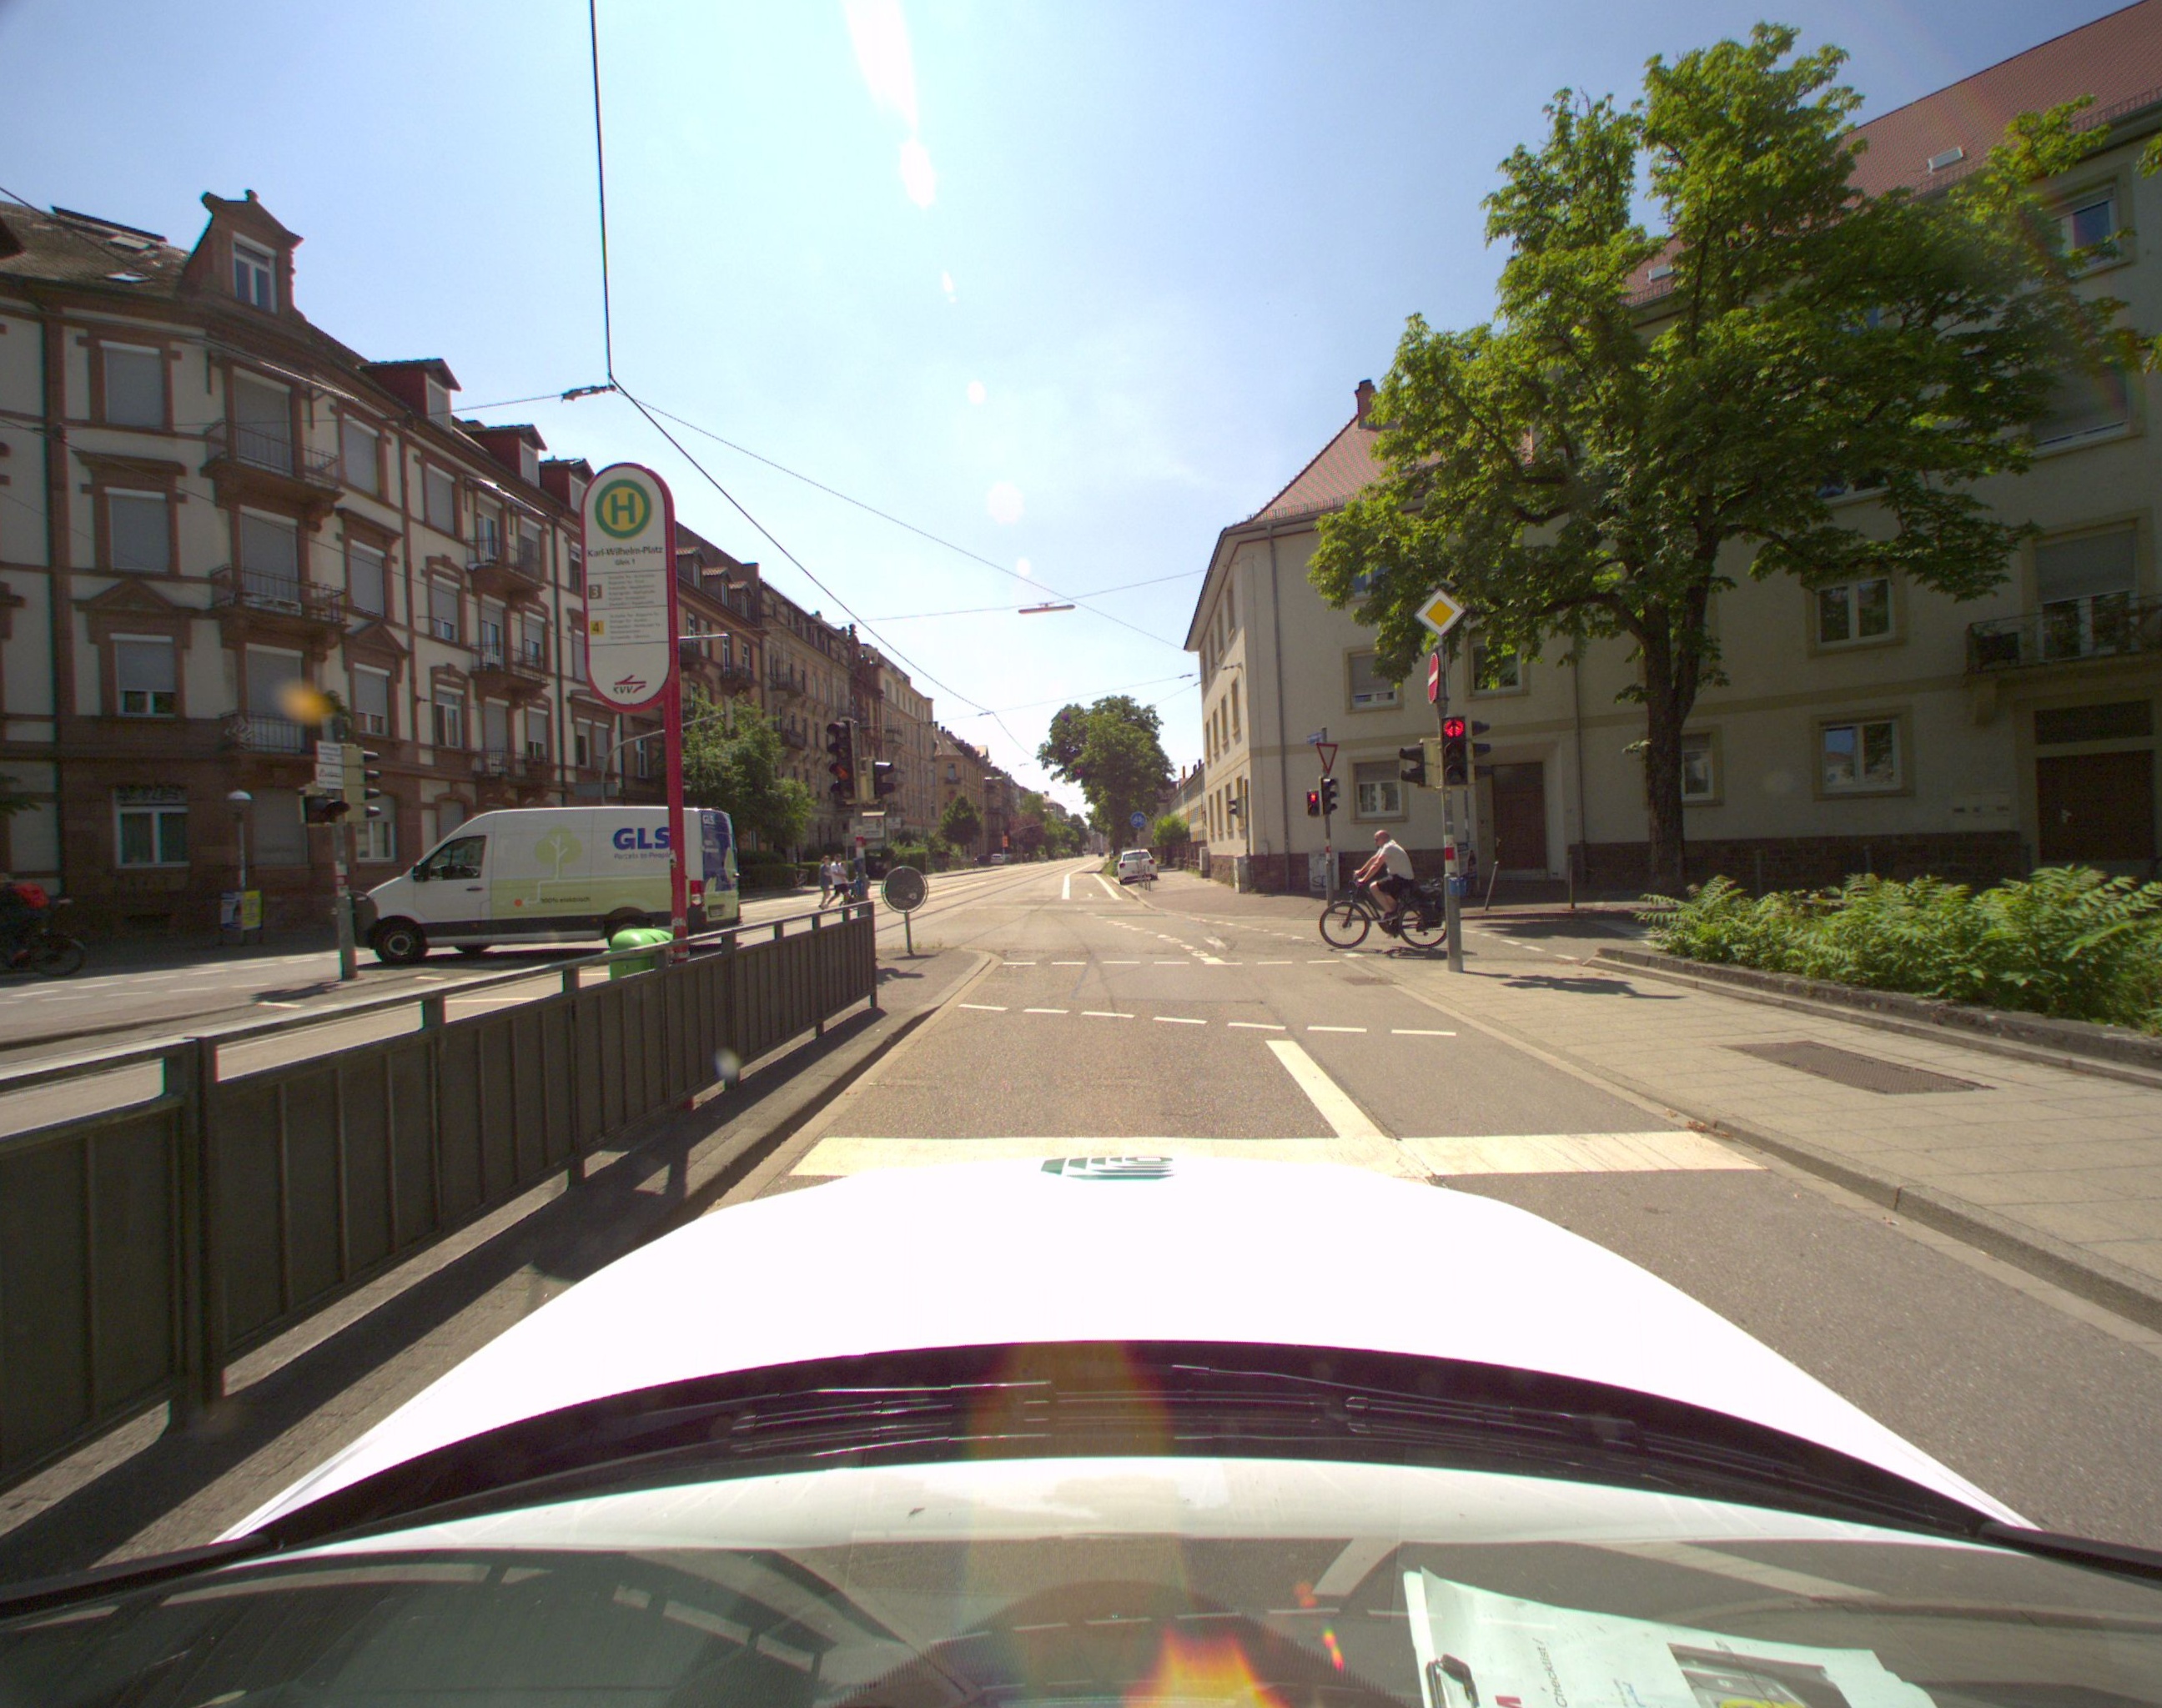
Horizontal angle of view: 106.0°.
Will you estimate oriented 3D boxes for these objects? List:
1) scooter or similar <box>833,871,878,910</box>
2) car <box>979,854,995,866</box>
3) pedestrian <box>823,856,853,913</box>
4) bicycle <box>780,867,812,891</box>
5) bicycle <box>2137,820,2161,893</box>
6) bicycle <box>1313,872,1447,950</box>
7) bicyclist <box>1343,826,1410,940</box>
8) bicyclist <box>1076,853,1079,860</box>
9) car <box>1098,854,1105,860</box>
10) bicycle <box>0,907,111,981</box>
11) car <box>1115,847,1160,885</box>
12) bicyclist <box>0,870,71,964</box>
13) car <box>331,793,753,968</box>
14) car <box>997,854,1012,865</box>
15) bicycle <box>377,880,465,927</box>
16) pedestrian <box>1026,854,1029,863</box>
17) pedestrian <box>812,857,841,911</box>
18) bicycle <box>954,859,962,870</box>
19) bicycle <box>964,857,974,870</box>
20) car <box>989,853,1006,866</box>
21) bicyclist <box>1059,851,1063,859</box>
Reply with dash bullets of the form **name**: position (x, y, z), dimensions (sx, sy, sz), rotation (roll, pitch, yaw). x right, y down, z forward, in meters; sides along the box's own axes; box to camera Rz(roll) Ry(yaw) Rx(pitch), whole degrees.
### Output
- **scooter or similar**: position (-6.819, 1.091, 24.647), dimensions (1.195, 1.155, 0.559), rotation (0, -1, 7)
- **car**: position (-14.328, 0.883, 124.466), dimensions (1.912, 1.715, 4.001), rotation (0, -1, 2)
- **pedestrian**: position (-7.086, 0.885, 23.759), dimensions (0.671, 1.645, 0.559), rotation (0, -1, 6)
- **bicycle**: position (-14.410, 1.255, 41.252), dimensions (0.936, 1.136, 2.767), rotation (0, -1, -7)
- **bicycle**: position (17.015, 0.022, 12.082), dimensions (0.527, 1.104, 1.589), rotation (-2, 0, -34)
- **bicycle**: position (4.339, 0.817, 11.846), dimensions (1.745, 1.057, 0.704), rotation (-2, -1, 22)
- **bicyclist**: position (4.313, 0.421, 11.857), dimensions (0.839, 1.592, 0.704), rotation (-2, -1, 22)
- **bicyclist**: position (-1.029, 0.767, 222.445), dimensions (0.724, 1.818, 1.080), rotation (0, -1, 3)
- **car**: position (5.517, 0.780, 222.305), dimensions (1.818, 1.519, 4.001), rotation (0, 0, 2)
- **bicycle**: position (-18.397, 1.563, 14.108), dimensions (1.932, 1.173, 0.642), rotation (-1, -1, -29)
- **car**: position (2.530, 0.530, 37.419), dimensions (1.808, 1.516, 4.001), rotation (-4, -1, 2)
- **bicyclist**: position (-18.294, 1.076, 14.041), dimensions (0.901, 1.561, 0.716), rotation (-1, -1, -30)
- **car**: position (-9.268, 0.414, 14.548), dimensions (5.800, 2.673, 2.270), rotation (-2, -1, -6)
- **car**: position (-11.656, 0.862, 124.328), dimensions (1.912, 1.715, 4.001), rotation (0, -1, 2)
- **bicycle**: position (-19.550, 1.442, 24.159), dimensions (0.557, 1.294, 1.975), rotation (-1, -1, 43)
- **pedestrian**: position (-8.745, 0.676, 133.786), dimensions (0.404, 1.461, 0.436), rotation (-2, 0, 1)
- **pedestrian**: position (-7.728, 0.906, 24.753), dimensions (0.671, 1.645, 0.559), rotation (0, -1, 6)
- **bicycle**: position (-12.150, 1.024, 80.497), dimensions (0.677, 1.064, 1.912), rotation (-2, 0, -9)
- **bicycle**: position (-11.705, 0.950, 85.135), dimensions (0.675, 1.278, 1.918), rotation (-2, 0, -1)
- **car**: position (-11.876, 0.798, 116.064), dimensions (1.912, 1.715, 4.001), rotation (0, -1, 2)
- **bicyclist**: position (-4.342, 0.174, 177.290), dimensions (0.724, 1.629, 1.080), rotation (0, -1, 3)
